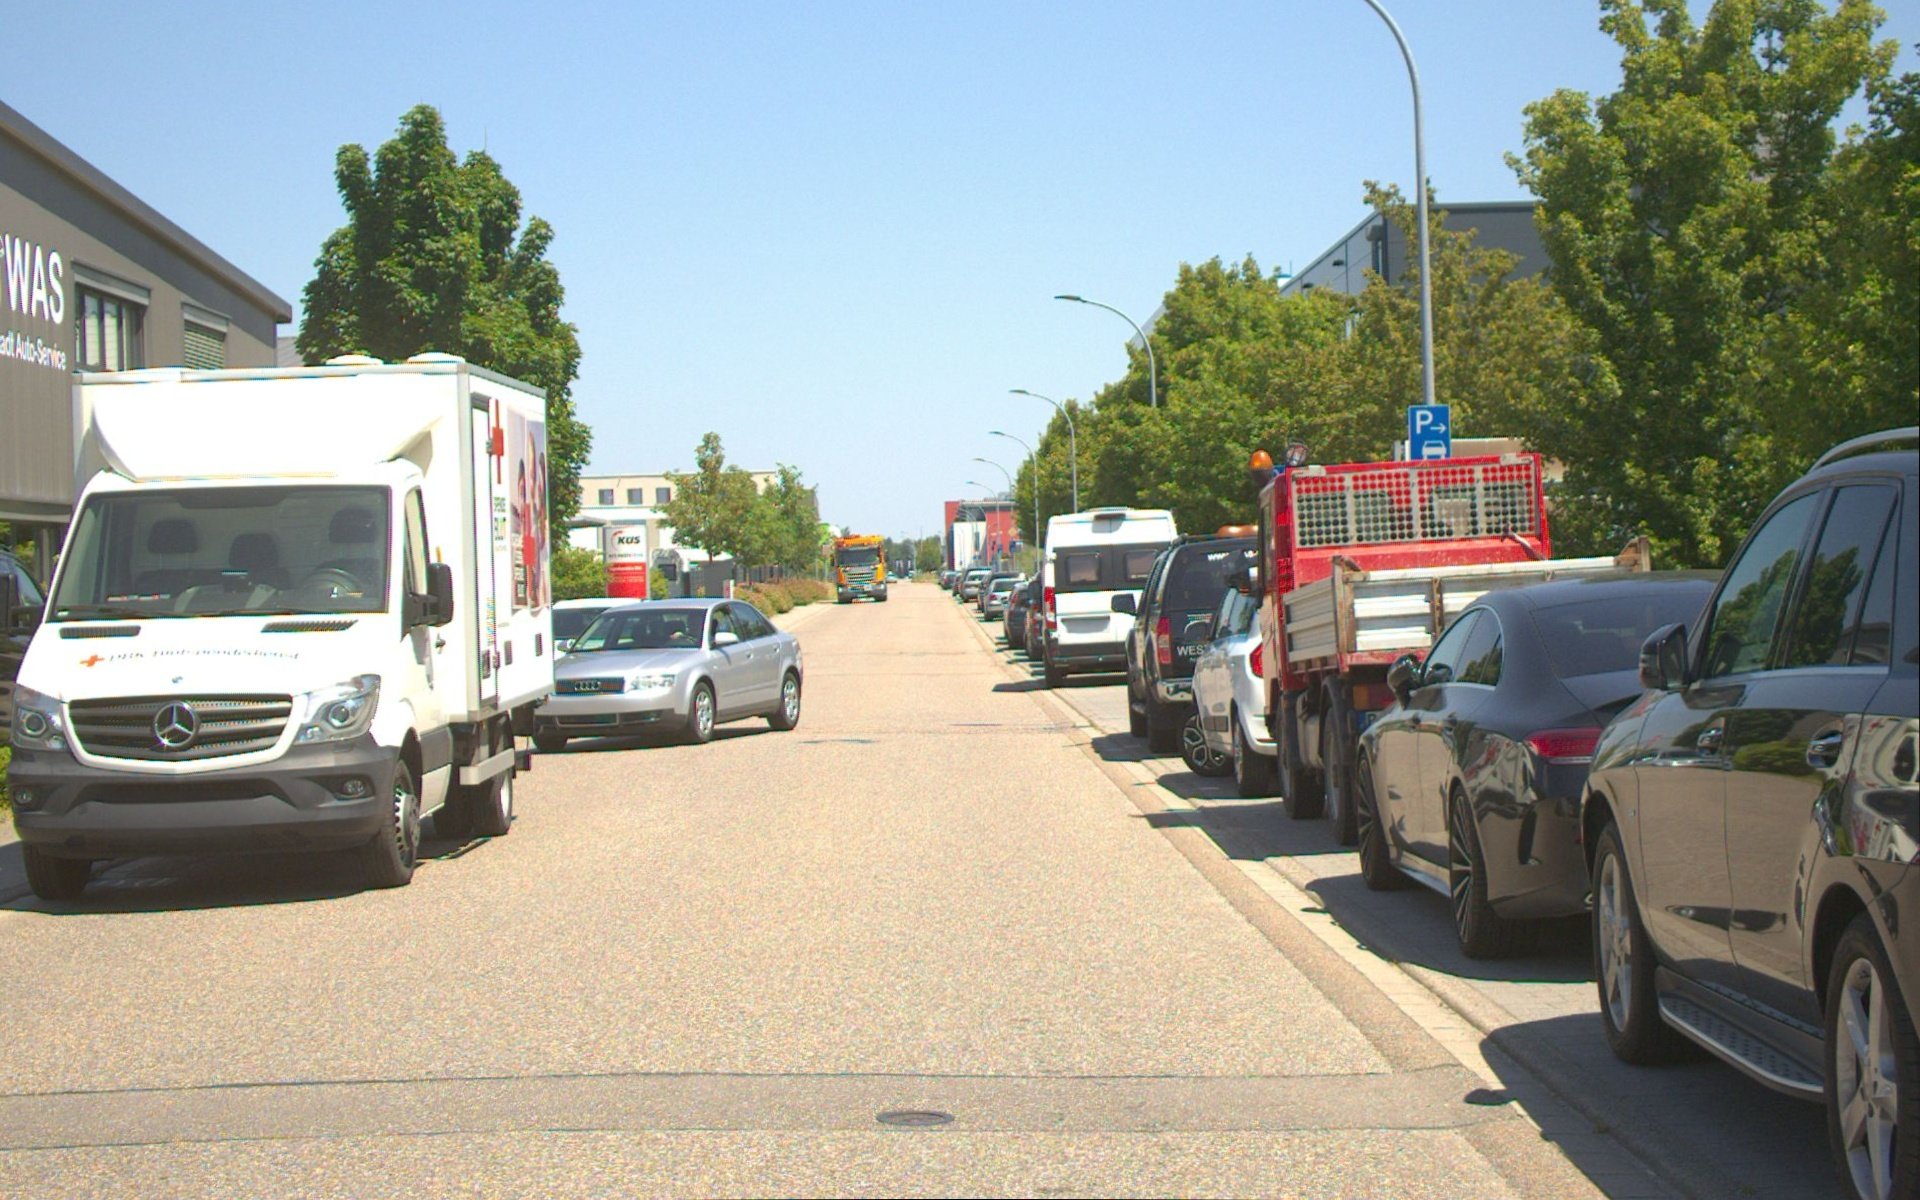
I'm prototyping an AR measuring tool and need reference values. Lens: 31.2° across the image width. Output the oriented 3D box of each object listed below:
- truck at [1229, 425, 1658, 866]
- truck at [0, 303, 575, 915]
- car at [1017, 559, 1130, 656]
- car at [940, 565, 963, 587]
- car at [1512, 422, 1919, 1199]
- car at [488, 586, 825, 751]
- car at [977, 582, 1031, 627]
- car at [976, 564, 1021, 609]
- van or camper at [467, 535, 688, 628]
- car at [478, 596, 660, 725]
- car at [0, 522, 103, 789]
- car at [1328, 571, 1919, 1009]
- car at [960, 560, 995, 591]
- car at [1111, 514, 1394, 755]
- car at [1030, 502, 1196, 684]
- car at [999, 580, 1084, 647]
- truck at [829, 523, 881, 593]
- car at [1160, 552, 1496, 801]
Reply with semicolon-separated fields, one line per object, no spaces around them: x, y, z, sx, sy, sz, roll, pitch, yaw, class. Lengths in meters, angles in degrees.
2.656;0.223;19.835;1.679;2.174;4.390;-3;0;-1;truck
-3.830;0.043;19.835;2.361;2.850;6.415;-3;0;0;truck
2.234;0.139;68.643;1.993;1.819;4.354;-2;0;-1;car
-0.555;-1.594;229.761;1.495;1.405;3.500;-1;1;-1;car
2.705;0.455;8.570;1.811;1.719;4.774;-3;1;0;car
-2.964;0.645;34.582;1.784;1.417;4.410;-3;0;17;car
1.497;0.135;117.832;1.718;1.445;3.646;-2;0;-1;car
1.511;-0.551;135.849;1.721;1.688;3.984;-1;1;0;car
-13.277;-0.653;119.755;7.384;3.027;2.790;-1;1;-1;van or camper
-4.670;0.686;41.585;1.730;1.453;4.492;-1;0;-1;car
-8.009;0.412;25.601;1.993;1.950;5.218;-1;0;-1;car
2.640;0.621;13.903;1.698;1.378;4.837;-3;0;0;car
0.816;-1.186;165.007;1.585;1.405;3.500;-1;1;-1;car
2.492;0.269;30.562;1.993;1.878;5.155;-2;0;0;car
2.233;-0.115;51.554;2.267;2.489;6.151;-2;0;1;car
1.944;0.301;80.907;1.709;1.499;4.705;-2;0;4;car
-5.485;-2.208;180.139;2.448;3.501;8.273;-2;1;-1;truck
2.508;0.490;24.318;1.738;1.525;4.000;-3;0;-2;car
